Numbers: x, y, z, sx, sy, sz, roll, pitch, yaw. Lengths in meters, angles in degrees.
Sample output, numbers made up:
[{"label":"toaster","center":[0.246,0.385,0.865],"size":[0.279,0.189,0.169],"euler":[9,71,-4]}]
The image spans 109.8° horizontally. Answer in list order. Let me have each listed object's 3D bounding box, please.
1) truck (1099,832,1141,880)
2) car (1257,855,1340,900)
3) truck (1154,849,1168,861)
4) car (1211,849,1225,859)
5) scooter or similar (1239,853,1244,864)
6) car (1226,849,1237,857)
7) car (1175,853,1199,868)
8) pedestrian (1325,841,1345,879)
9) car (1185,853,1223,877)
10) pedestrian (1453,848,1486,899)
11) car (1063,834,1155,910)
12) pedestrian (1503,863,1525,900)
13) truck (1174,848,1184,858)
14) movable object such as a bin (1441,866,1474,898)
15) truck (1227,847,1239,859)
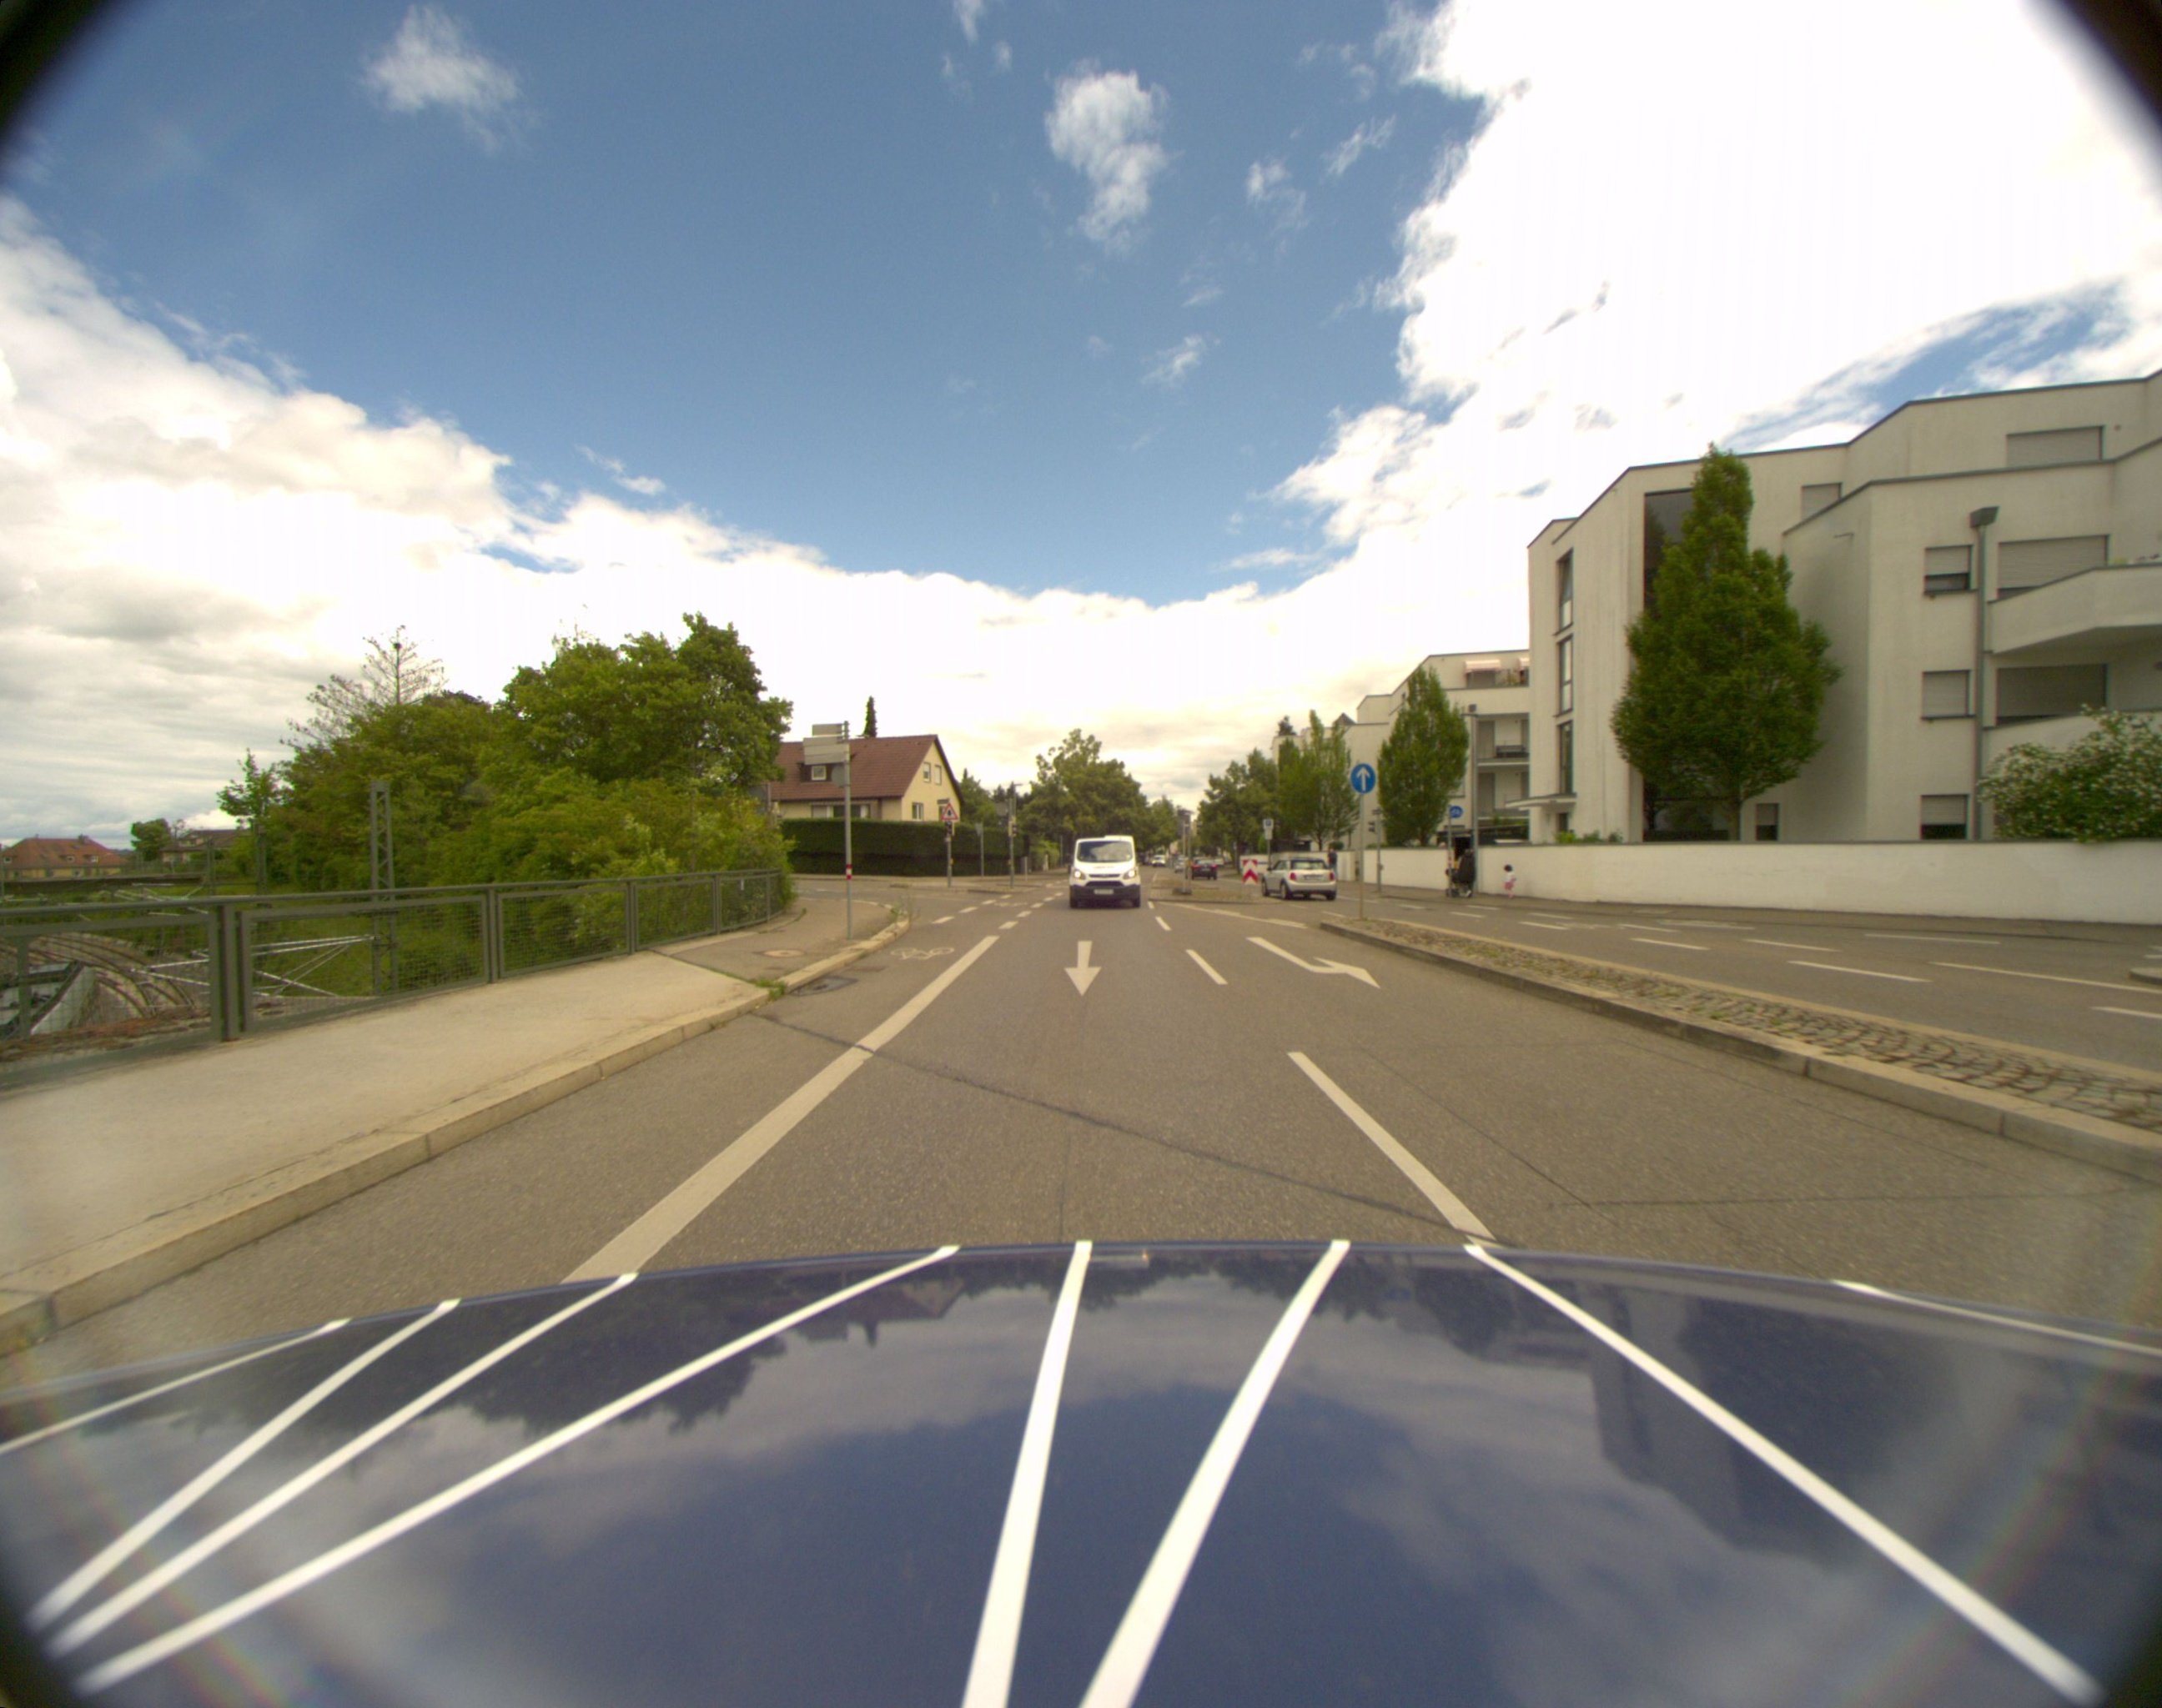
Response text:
[{"label":"truck","center":[2.329,0.087,43.592],"size":[2.035,2.555,6.060],"euler":[1,0,7]},{"label":"car","center":[7.419,0.764,26.273],"size":[1.647,1.401,3.818],"euler":[0,1,-2]},{"label":"truck","center":[11.921,0.125,112.909],"size":[1.613,1.780,4.003],"euler":[1,0,11]},{"label":"car","center":[22.232,0.025,122.992],"size":[1.915,1.643,4.004],"euler":[0,0,14]},{"label":"scooter or similar","center":[16.953,0.494,80.322],"size":[0.434,1.159,1.328],"euler":[-3,0,8]},{"label":"car","center":[29.587,-0.207,149.554],"size":[1.887,1.606,4.004],"euler":[0,0,14]},{"label":"car","center":[10.446,0.653,75.054],"size":[1.803,1.435,3.948],"euler":[0,1,0]},{"label":"pedestrian","center":[13.266,0.329,39.715],"size":[0.650,1.937,0.872],"euler":[-3,1,2]},{"label":"car","center":[7.841,0.666,48.858],"size":[1.725,1.383,3.917],"euler":[1,1,-1]},{"label":"pedestrian","center":[12.162,0.605,23.829],"size":[0.532,1.534,0.732],"euler":[-5,1,-1]},{"label":"car","center":[0.999,0.464,22.705],"size":[2.074,1.956,5.561],"euler":[-1,0,9]},{"label":"pedestrian","center":[12.988,0.818,22.804],"size":[0.326,1.056,0.444],"euler":[-5,1,0]},{"label":"truck","center":[17.721,-0.181,137.078],"size":[1.617,1.649,4.003],"euler":[1,0,11]},{"label":"movable object such as a bin","center":[12.166,0.907,24.582],"size":[0.498,0.954,0.986],"euler":[-5,1,-1]},{"label":"truck","center":[34.927,-0.293,174.589],"size":[2.639,2.757,6.262],"euler":[0,1,12]}]
